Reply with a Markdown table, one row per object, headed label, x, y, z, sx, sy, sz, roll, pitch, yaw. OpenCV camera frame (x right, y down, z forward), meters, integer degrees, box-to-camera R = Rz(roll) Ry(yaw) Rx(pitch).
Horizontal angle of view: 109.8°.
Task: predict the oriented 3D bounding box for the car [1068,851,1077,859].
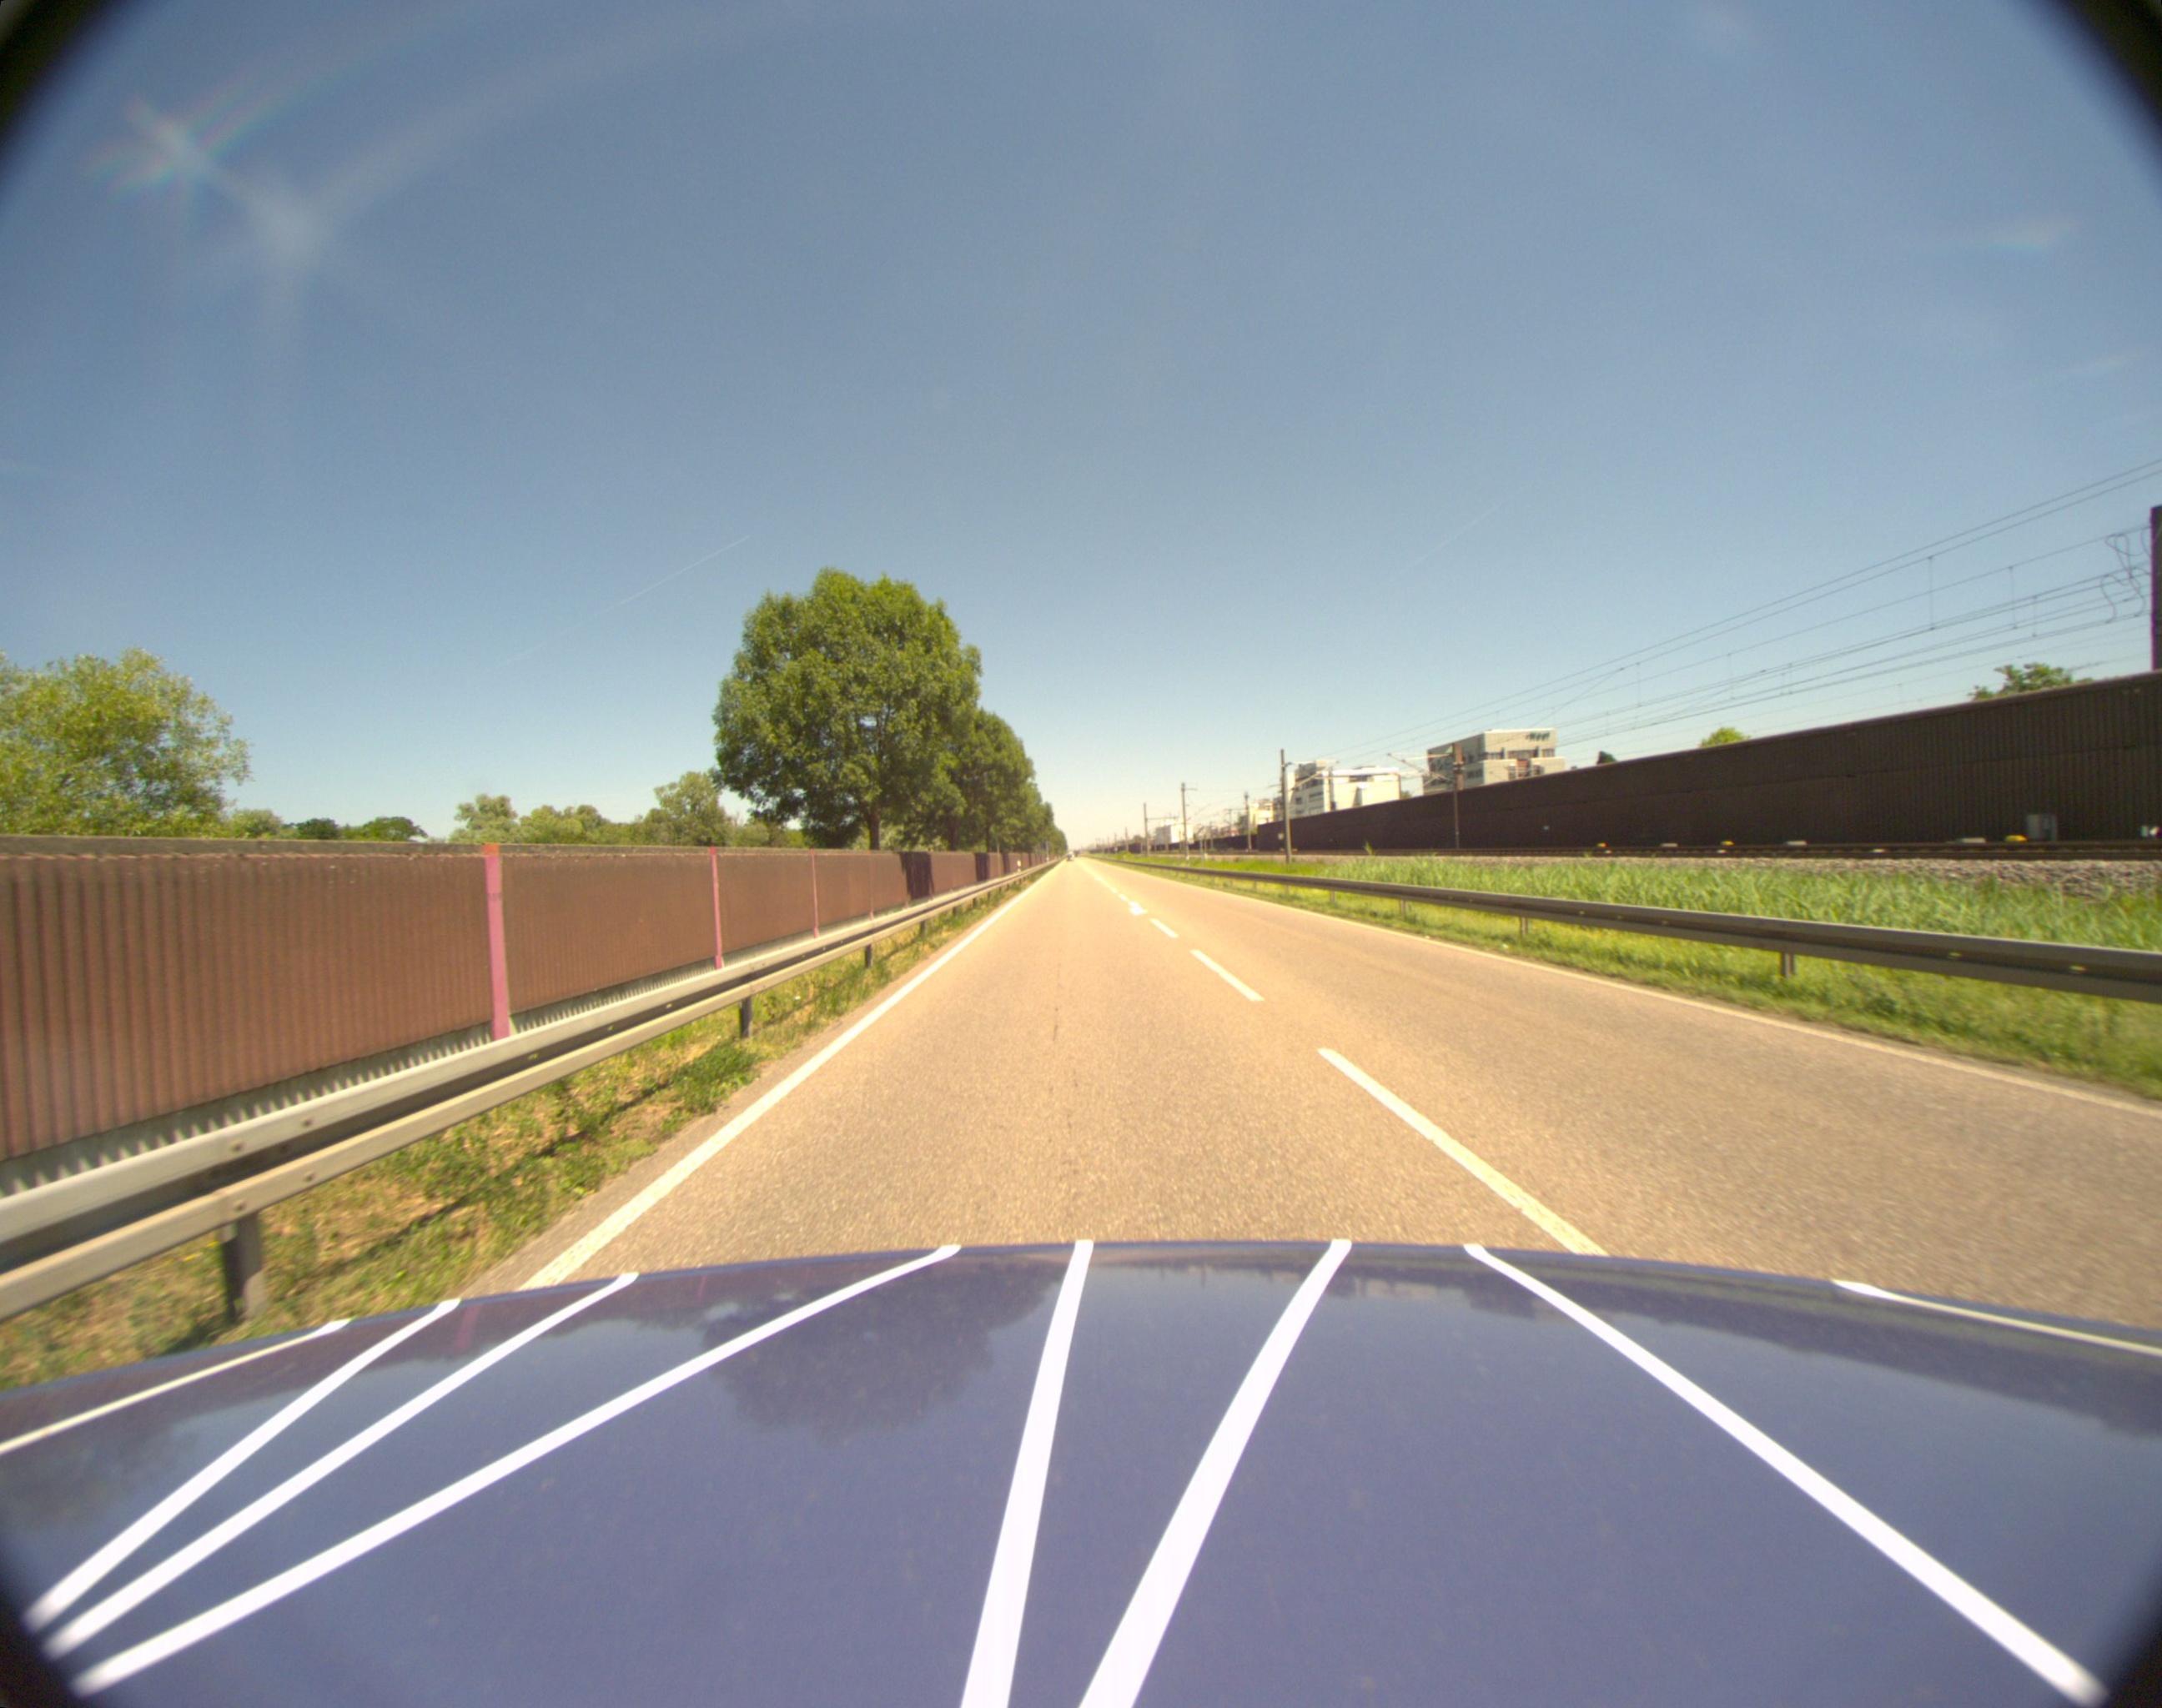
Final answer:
| label | x | y | z | sx | sy | sz | roll | pitch | yaw |
| --- | --- | --- | --- | --- | --- | --- | --- | --- | --- |
| car | -2.210 | 0.186 | 189.488 | 1.998 | 2.002 | 4.000 | -2 | 1 | 2 |
